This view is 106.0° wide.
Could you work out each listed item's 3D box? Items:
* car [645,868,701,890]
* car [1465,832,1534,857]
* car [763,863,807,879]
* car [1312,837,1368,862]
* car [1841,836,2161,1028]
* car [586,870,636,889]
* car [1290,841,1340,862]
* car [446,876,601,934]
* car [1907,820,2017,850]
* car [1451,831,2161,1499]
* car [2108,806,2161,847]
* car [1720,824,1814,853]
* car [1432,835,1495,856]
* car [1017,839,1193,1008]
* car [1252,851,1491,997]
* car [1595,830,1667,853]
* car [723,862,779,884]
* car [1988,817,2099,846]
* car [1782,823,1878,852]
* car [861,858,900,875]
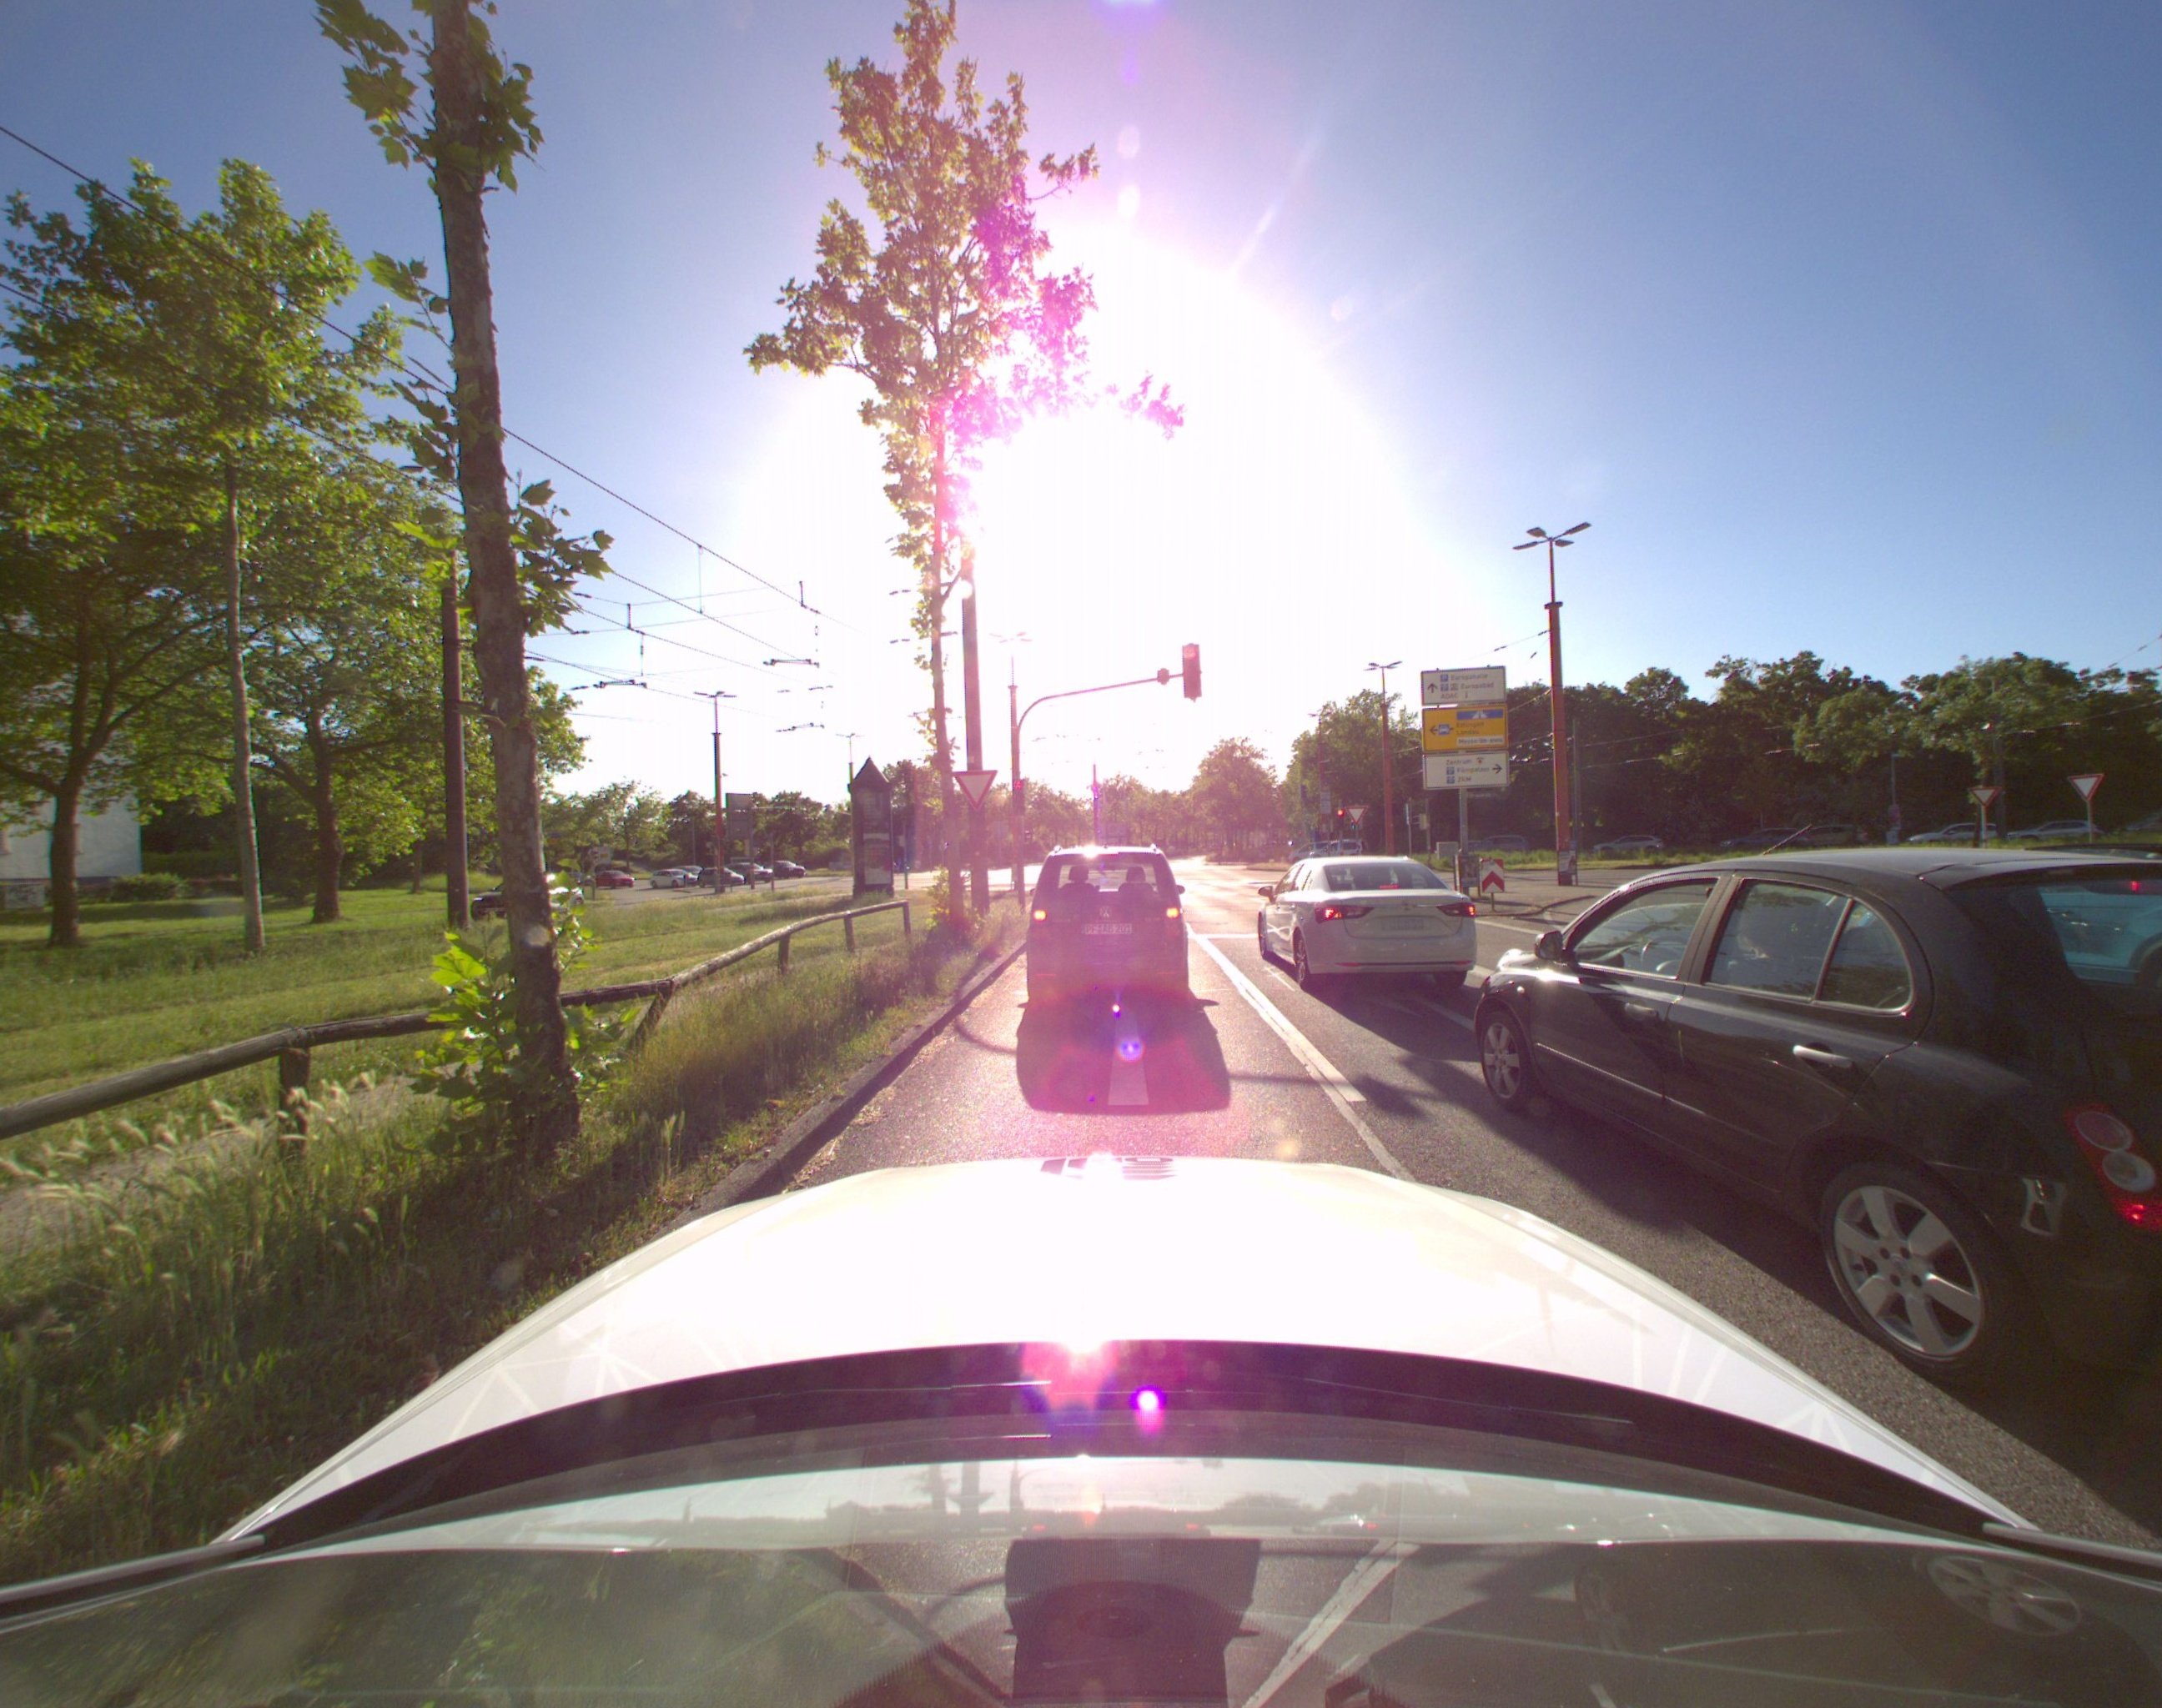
[{"bbox_3d":[-32.418,1.971,64.700,4.135,1.612,1.880,-2,0,27],"label":"car"},{"bbox_3d":[28.904,-0.638,56.292,4.139,1.644,1.770,0,-1,28],"label":"car"},{"bbox_3d":[-26.512,1.508,72.922,3.948,1.330,1.709,-2,0,33],"label":"car"},{"bbox_3d":[19.572,-0.319,61.484,3.797,1.890,1.774,0,-1,25],"label":"car"},{"bbox_3d":[9.307,0.585,7.186,1.724,1.450,4.141,-2,0,8],"label":"car"},{"bbox_3d":[-39.388,2.143,68.190,3.949,1.513,1.743,-2,0,27],"label":"car"},{"bbox_3d":[18.836,-0.202,65.540,3.608,1.655,1.690,0,-1,27],"label":"car"},{"bbox_3d":[-17.475,1.537,25.810,1.799,1.522,4.332,-2,0,1],"label":"car"},{"bbox_3d":[48.815,-1.045,45.209,3.782,1.523,1.706,-2,0,31],"label":"car"},{"bbox_3d":[3.229,0.690,3.620,1.647,1.500,3.617,-1,0,2],"label":"car"},{"bbox_3d":[56.019,-1.445,41.248,4.526,2.013,2.013,-2,0,33],"label":"car"},{"bbox_3d":[41.491,-0.921,49.376,4.080,1.598,1.840,-2,0,29],"label":"car"},{"bbox_3d":[28.278,-0.592,60.199,4.082,1.511,1.834,0,-1,28],"label":"car"},{"bbox_3d":[0.292,0.687,9.973,1.694,1.621,3.898,-2,0,1],"label":"car"},{"bbox_3d":[3.330,0.703,10.203,1.713,1.438,4.202,-1,0,3],"label":"car"},{"bbox_3d":[37.144,-0.833,55.105,3.926,1.441,1.697,0,-1,29],"label":"car"},{"bbox_3d":[-26.508,1.509,65.393,3.950,1.644,2.012,-2,0,26],"label":"car"},{"bbox_3d":[54.039,-1.251,45.818,3.700,1.473,1.610,-2,0,28],"label":"car"},{"bbox_3d":[46.687,-1.008,50.874,4.080,1.644,1.864,-2,0,31],"label":"car"},{"bbox_3d":[-20.492,1.305,83.086,4.061,1.656,1.814,-2,0,41],"label":"car"}]
